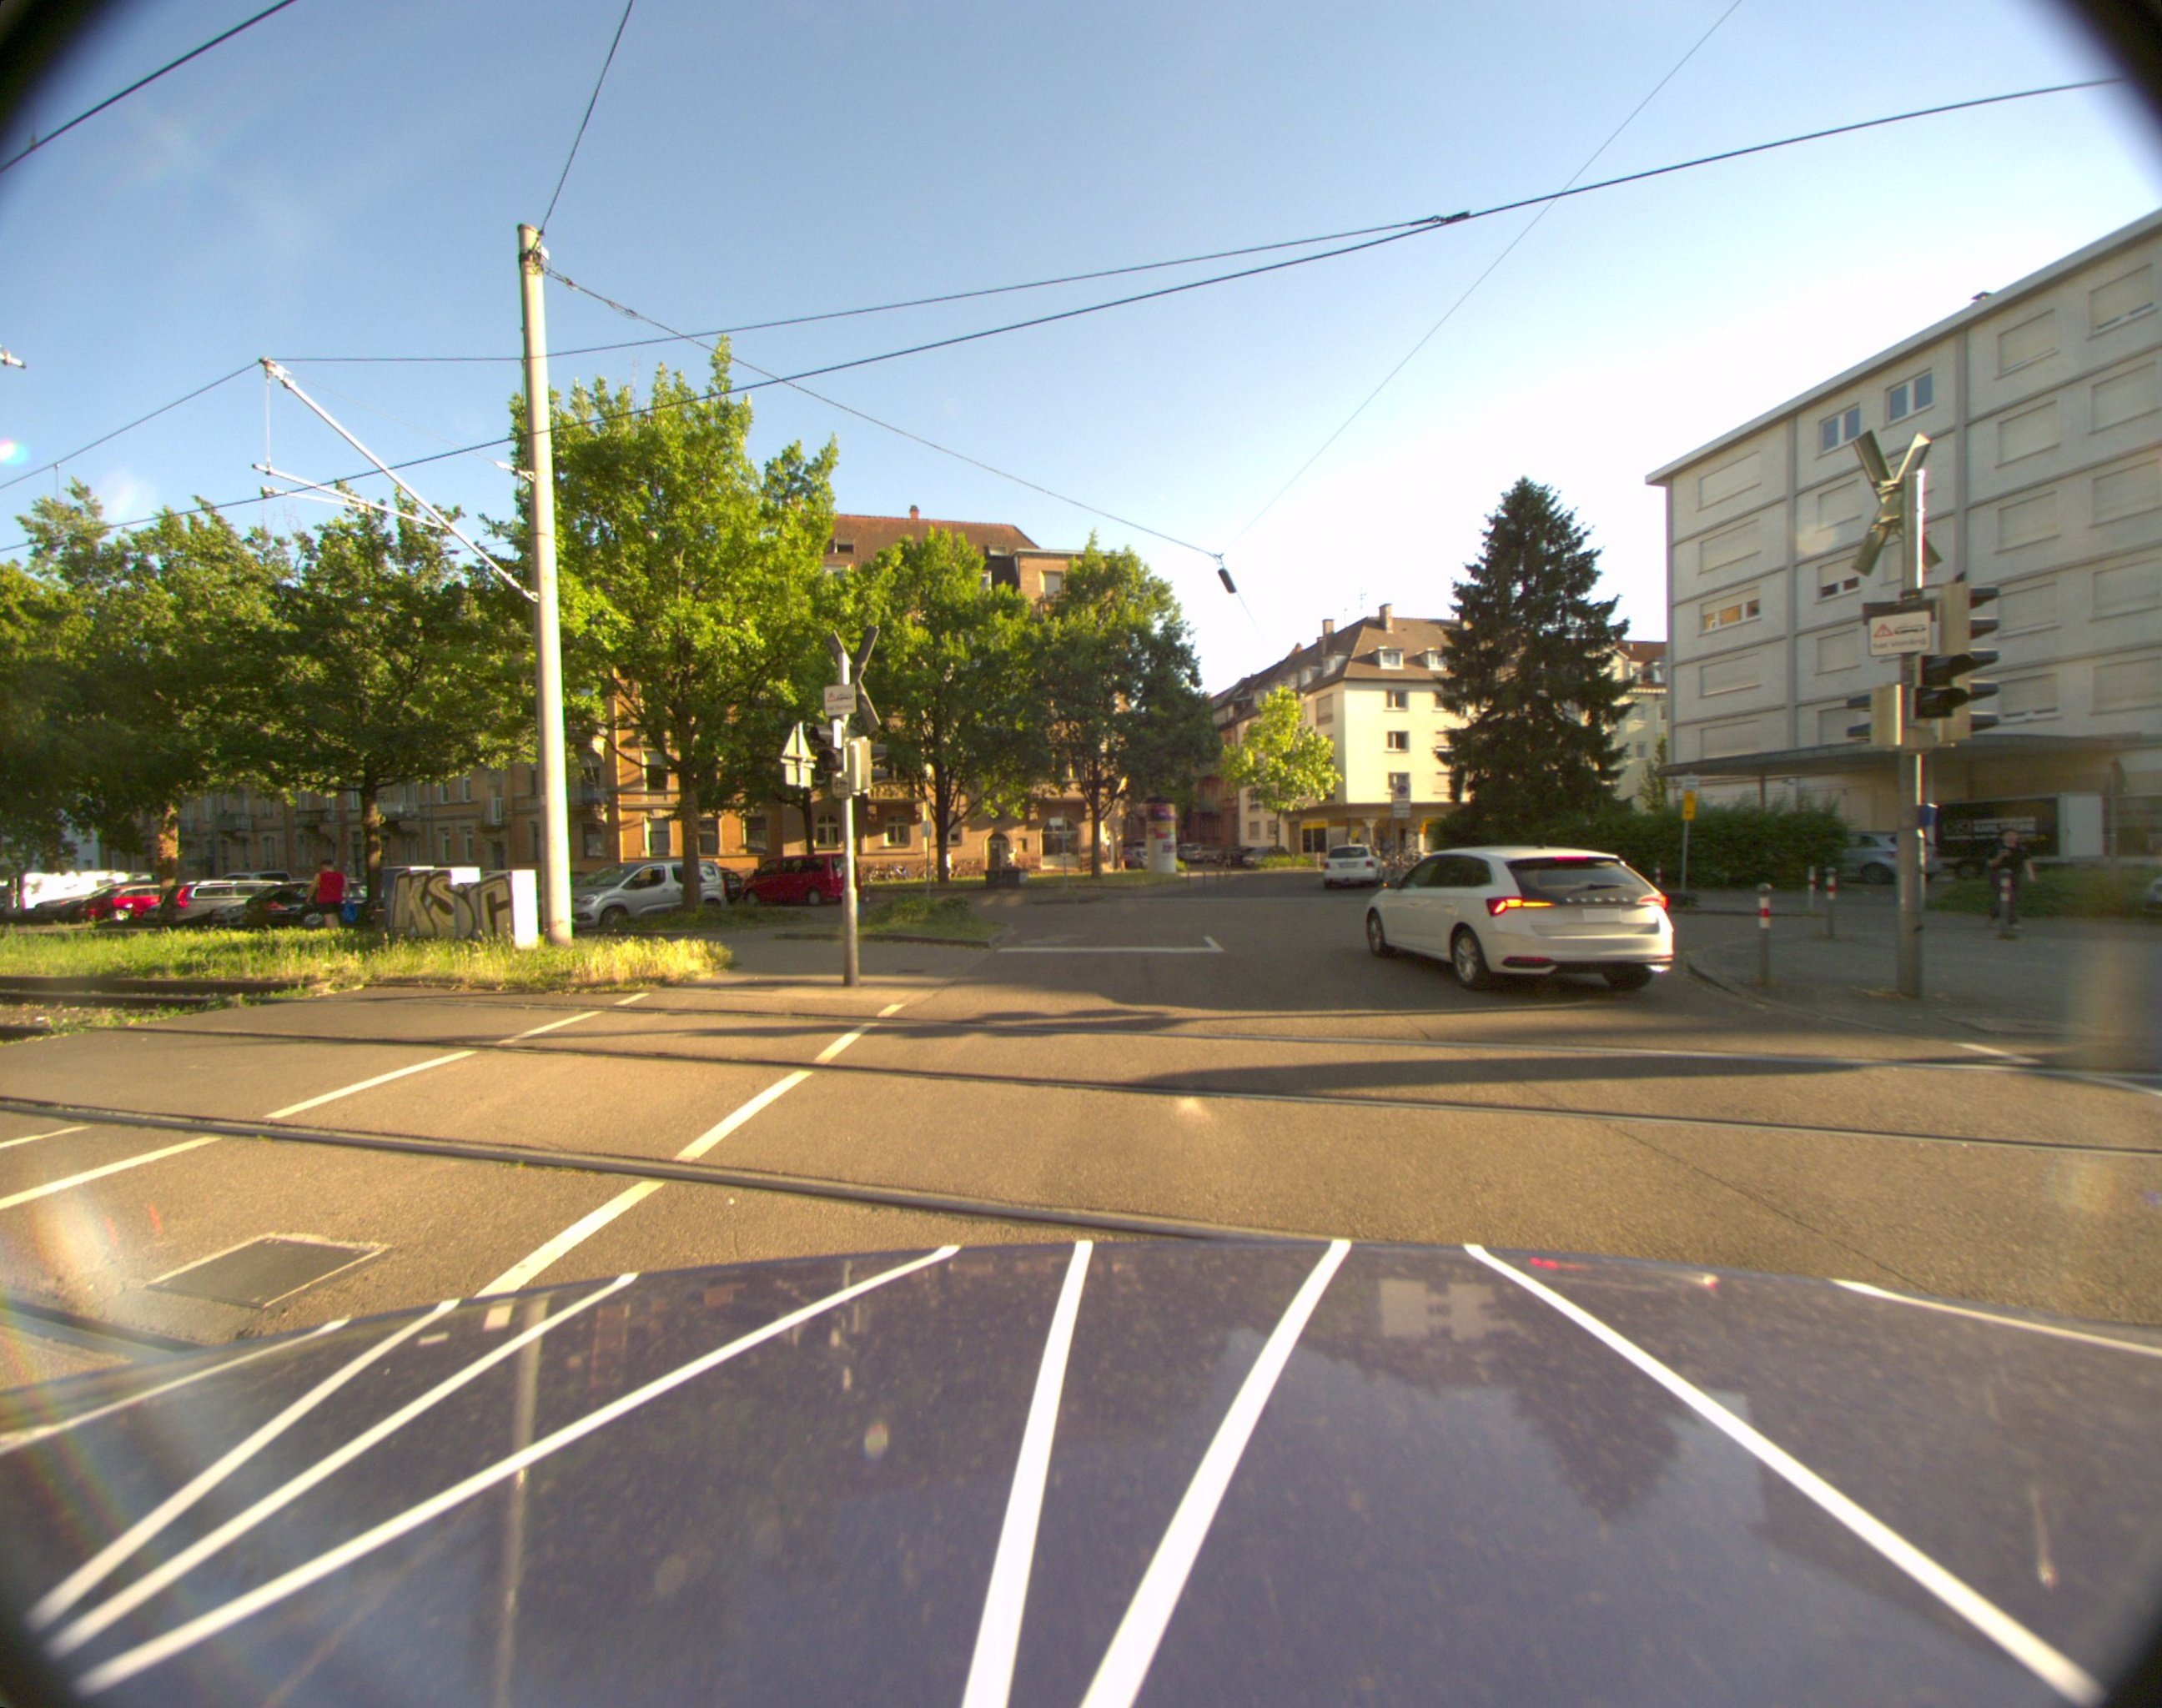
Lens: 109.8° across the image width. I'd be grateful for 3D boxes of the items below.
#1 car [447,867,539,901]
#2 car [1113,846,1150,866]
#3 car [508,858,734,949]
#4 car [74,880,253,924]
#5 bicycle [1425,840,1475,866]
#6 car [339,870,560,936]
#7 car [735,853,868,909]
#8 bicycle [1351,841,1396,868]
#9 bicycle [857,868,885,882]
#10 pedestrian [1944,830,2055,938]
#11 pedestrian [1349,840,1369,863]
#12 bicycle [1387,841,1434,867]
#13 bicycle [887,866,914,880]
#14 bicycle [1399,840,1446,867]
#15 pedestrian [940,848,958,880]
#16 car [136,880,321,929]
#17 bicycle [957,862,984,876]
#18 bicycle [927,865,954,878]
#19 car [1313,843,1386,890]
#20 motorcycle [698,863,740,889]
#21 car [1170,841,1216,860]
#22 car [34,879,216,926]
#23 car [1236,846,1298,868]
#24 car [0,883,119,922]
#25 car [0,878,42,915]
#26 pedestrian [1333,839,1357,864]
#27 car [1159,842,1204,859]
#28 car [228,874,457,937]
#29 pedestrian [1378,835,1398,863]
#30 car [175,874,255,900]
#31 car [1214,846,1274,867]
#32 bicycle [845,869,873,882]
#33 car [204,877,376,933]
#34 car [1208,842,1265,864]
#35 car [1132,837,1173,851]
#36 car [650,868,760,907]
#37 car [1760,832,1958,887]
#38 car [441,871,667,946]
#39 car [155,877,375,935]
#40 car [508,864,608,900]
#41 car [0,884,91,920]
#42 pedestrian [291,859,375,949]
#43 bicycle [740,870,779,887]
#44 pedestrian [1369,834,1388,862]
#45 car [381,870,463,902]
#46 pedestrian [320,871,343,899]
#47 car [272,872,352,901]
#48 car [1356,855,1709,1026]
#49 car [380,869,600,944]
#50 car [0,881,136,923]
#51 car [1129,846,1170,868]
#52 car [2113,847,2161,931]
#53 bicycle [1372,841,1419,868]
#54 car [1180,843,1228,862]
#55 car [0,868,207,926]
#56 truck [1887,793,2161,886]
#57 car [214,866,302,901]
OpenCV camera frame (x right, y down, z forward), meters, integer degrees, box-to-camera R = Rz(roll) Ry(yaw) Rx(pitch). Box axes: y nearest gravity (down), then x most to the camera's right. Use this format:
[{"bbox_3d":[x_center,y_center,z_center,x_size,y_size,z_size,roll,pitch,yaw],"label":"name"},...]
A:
[{"bbox_3d":[-28.696,1.462,37.110,3.873,1.467,1.691,-2,3,21],"label":"car"},{"bbox_3d":[3.865,0.139,58.600,1.874,1.392,3.996,-2,1,-10],"label":"car"},{"bbox_3d":[-11.440,1.119,19.326,1.945,1.903,4.561,0,1,25],"label":"car"},{"bbox_3d":[-34.779,1.778,28.949,1.680,1.415,4.006,-1,0,23],"label":"car"},{"bbox_3d":[22.041,-0.094,45.491,0.881,1.437,3.375,-2,3,-8],"label":"bicycle"},{"bbox_3d":[-18.412,1.350,22.446,1.945,1.563,4.561,0,1,25],"label":"car"},{"bbox_3d":[-10.818,1.041,29.378,4.761,1.923,1.784,-2,3,22],"label":"car"},{"bbox_3d":[16.899,0.002,44.031,0.881,1.437,3.376,-2,2,-8],"label":"bicycle"},{"bbox_3d":[-11.901,1.202,43.033,1.511,0.728,0.368,-2,1,-13],"label":"bicycle"},{"bbox_3d":[15.304,0.483,12.695,0.869,1.726,0.832,-1,2,22],"label":"pedestrian"},{"bbox_3d":[19.268,-0.188,52.732,0.964,1.560,0.890,-2,1,-10],"label":"pedestrian"},{"bbox_3d":[19.251,-0.032,44.536,0.881,1.437,3.376,-2,2,-8],"label":"bicycle"},{"bbox_3d":[-10.407,1.102,43.767,1.511,0.728,0.368,-2,1,-13],"label":"bicycle"},{"bbox_3d":[20.245,-0.060,45.168,0.881,1.437,3.375,-2,3,-8],"label":"bicycle"},{"bbox_3d":[-7.209,0.558,41.523,0.912,1.708,0.674,-2,2,-11],"label":"pedestrian"},{"bbox_3d":[-30.125,1.738,27.010,1.680,1.452,4.006,-1,0,23],"label":"car"},{"bbox_3d":[-6.487,0.869,44.760,1.511,0.728,0.368,-3,2,-13],"label":"bicycle"},{"bbox_3d":[-8.232,1.010,44.483,1.511,0.728,0.368,-2,1,-13],"label":"bicycle"},{"bbox_3d":[9.472,0.405,26.556,1.919,1.442,4.303,-2,0,26],"label":"car"},{"bbox_3d":[-19.857,1.187,41.698,1.899,1.345,0.809,-3,1,-13],"label":"motorcycle"},{"bbox_3d":[9.984,-0.333,67.577,4.007,1.626,1.868,-2,1,-40],"label":"car"},{"bbox_3d":[-37.013,1.831,29.564,1.762,1.571,4.006,-1,0,21],"label":"car"},{"bbox_3d":[12.983,0.198,53.061,4.006,1.392,1.869,-2,1,-28],"label":"car"},{"bbox_3d":[-45.725,2.110,33.356,1.680,1.480,4.006,-1,0,23],"label":"car"},{"bbox_3d":[-54.734,2.161,37.351,1.680,1.821,4.006,-1,0,23],"label":"car"},{"bbox_3d":[18.095,-0.161,52.086,1.215,1.657,0.963,-2,1,-11],"label":"pedestrian"},{"bbox_3d":[9.339,-0.343,70.467,4.007,1.392,1.868,-2,1,-40],"label":"car"},{"bbox_3d":[-22.953,1.504,23.897,1.995,1.563,4.723,0,1,25],"label":"car"},{"bbox_3d":[20.833,-0.370,51.591,0.891,1.864,0.851,-2,1,-11],"label":"pedestrian"},{"bbox_3d":[-54.073,2.076,47.428,4.382,1.433,1.884,-2,3,22],"label":"car"},{"bbox_3d":[11.877,0.175,55.273,4.006,1.392,1.869,-2,1,-28],"label":"car"},{"bbox_3d":[-12.647,1.221,43.258,1.511,0.728,0.368,-2,1,-13],"label":"bicycle"},{"bbox_3d":[-25.441,1.584,24.573,1.715,1.505,3.415,-2,1,25],"label":"car"},{"bbox_3d":[11.992,-0.094,58.588,4.005,1.559,1.869,-2,1,-26],"label":"car"},{"bbox_3d":[7.392,-1.055,78.547,4.007,1.392,1.868,-2,1,-40],"label":"car"},{"bbox_3d":[-15.736,1.382,31.799,4.260,1.426,1.784,-1,3,25],"label":"car"},{"bbox_3d":[24.426,0.145,24.086,2.000,1.524,3.997,-2,1,-8],"label":"car"},{"bbox_3d":[-13.877,1.345,20.370,1.945,1.563,4.561,0,1,25],"label":"car"},{"bbox_3d":[-27.749,1.677,26.067,1.995,1.563,4.723,0,1,25],"label":"car"},{"bbox_3d":[-24.224,1.298,35.196,4.260,1.467,1.784,-1,3,25],"label":"car"},{"bbox_3d":[-48.183,2.183,34.256,1.680,1.480,4.006,-1,0,23],"label":"car"},{"bbox_3d":[-16.670,1.084,16.951,1.147,1.907,0.906,-1,1,23],"label":"pedestrian"},{"bbox_3d":[-17.914,1.335,42.325,1.899,0.843,0.525,-2,1,-13],"label":"bicycle"},{"bbox_3d":[20.538,-0.399,52.477,0.891,1.864,0.851,-2,1,-11],"label":"pedestrian"},{"bbox_3d":[-34.043,1.650,39.252,3.700,1.467,1.691,-1,3,23],"label":"car"},{"bbox_3d":[-47.481,1.939,48.132,0.720,1.709,0.676,-1,3,24],"label":"pedestrian"},{"bbox_3d":[-43.597,1.856,43.066,3.879,1.430,1.771,-2,3,22],"label":"car"},{"bbox_3d":[4.716,0.770,8.739,1.706,1.448,4.062,-2,0,1],"label":"car"},{"bbox_3d":[-16.137,1.348,21.077,1.946,1.681,4.455,0,1,17],"label":"car"},{"bbox_3d":[-43.522,1.987,32.186,1.680,1.544,4.006,-1,0,23],"label":"car"},{"bbox_3d":[4.768,0.193,53.693,1.874,1.392,3.996,-2,1,-10],"label":"car"},{"bbox_3d":[20.480,0.558,12.427,3.992,1.437,1.718,-1,0,18],"label":"car"},{"bbox_3d":[18.234,-0.002,44.193,0.881,1.437,3.376,-2,2,-8],"label":"bicycle"},{"bbox_3d":[10.435,-0.146,64.413,4.007,1.496,1.868,-2,1,-40],"label":"car"},{"bbox_3d":[-39.488,1.667,30.783,2.150,2.026,4.868,-1,0,23],"label":"car"},{"bbox_3d":[28.468,-0.420,23.207,2.000,2.520,4.967,-2,1,-11],"label":"truck"},{"bbox_3d":[-48.842,1.732,45.100,4.714,1.872,1.915,-2,3,22],"label":"car"}]
